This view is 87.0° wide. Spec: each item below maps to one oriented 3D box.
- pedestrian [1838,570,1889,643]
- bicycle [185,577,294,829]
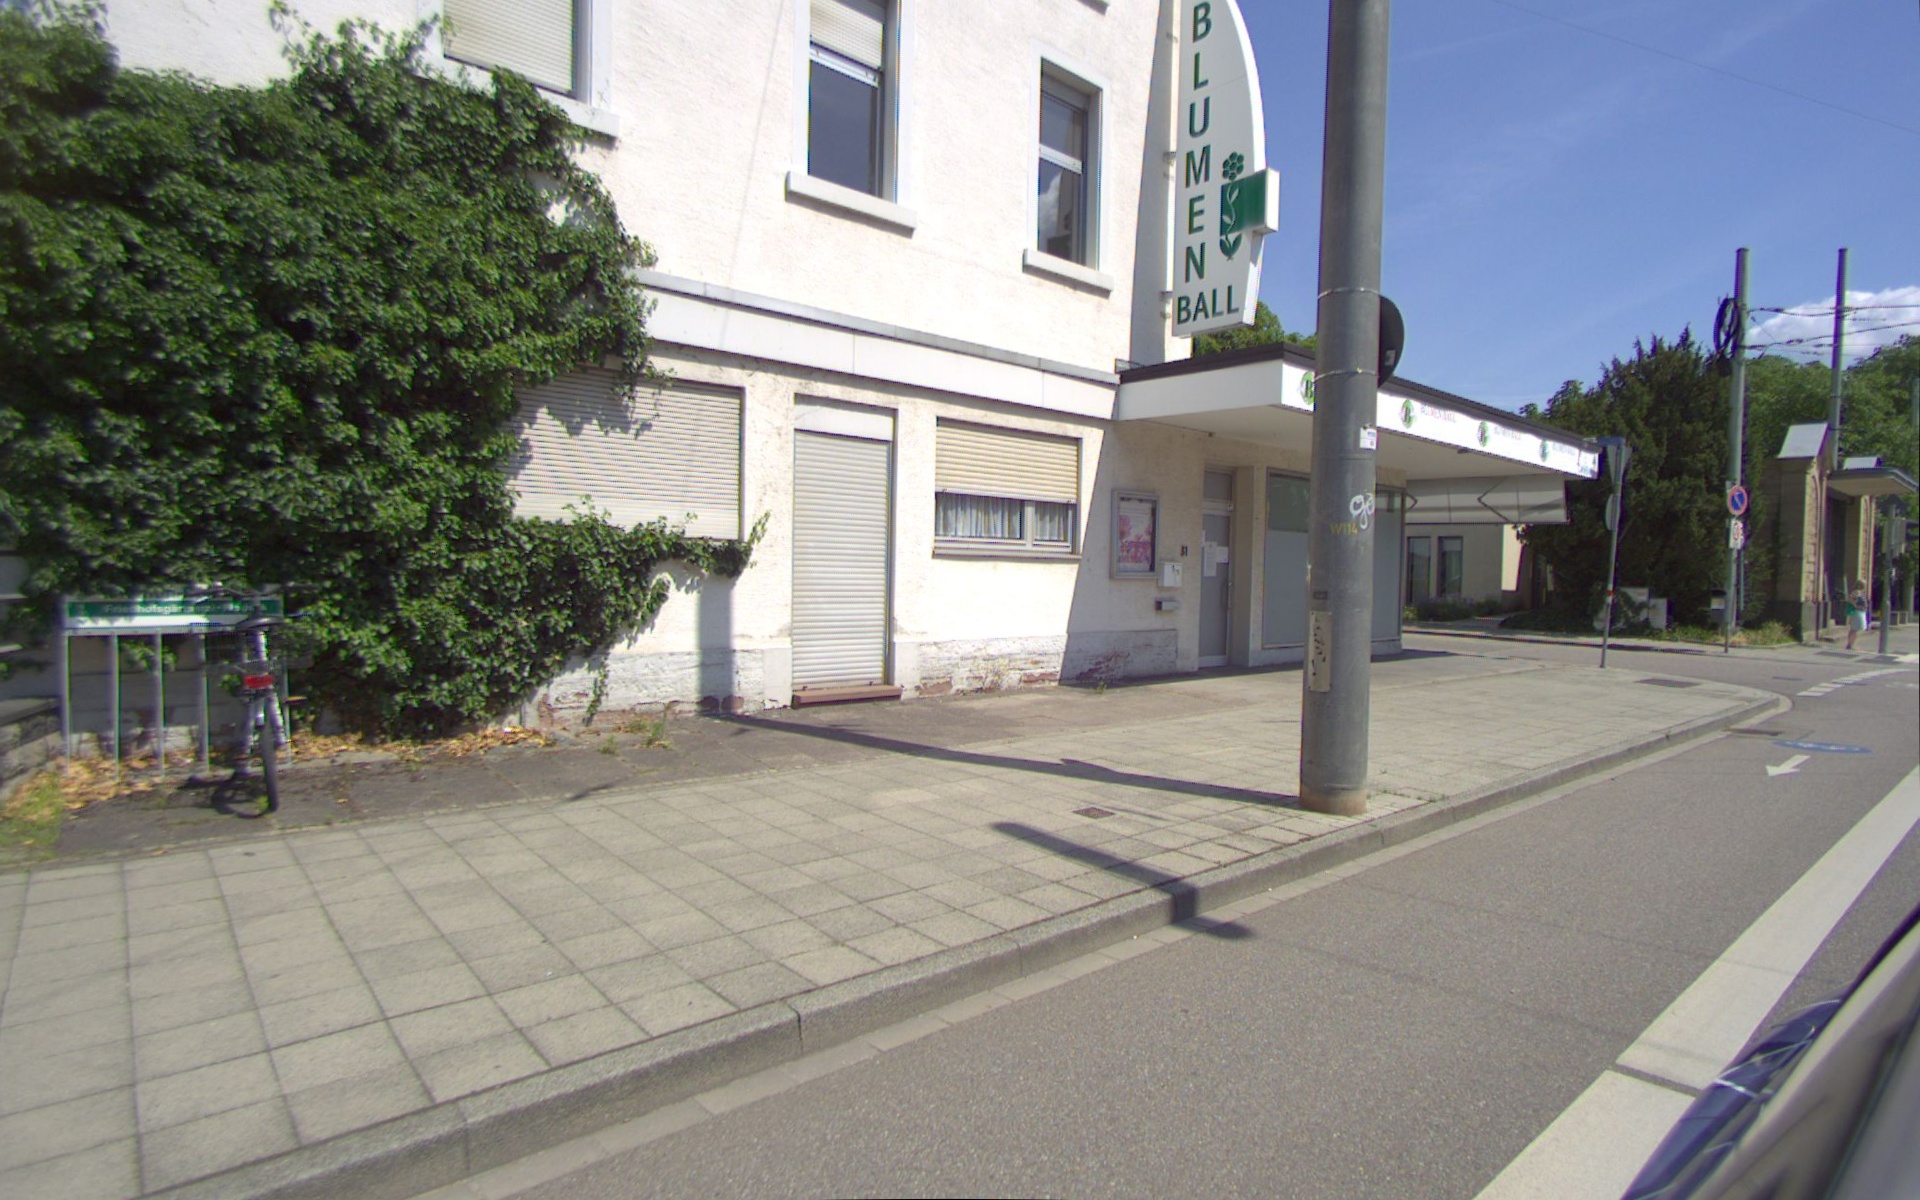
[{"bbox_3d":[21.294,0.146,23.857,0.667,1.686,0.566,1,2,-18],"label":"pedestrian"},{"bbox_3d":[-3.884,0.472,5.489,0.421,1.099,1.539,0,4,-34],"label":"bicycle"}]
